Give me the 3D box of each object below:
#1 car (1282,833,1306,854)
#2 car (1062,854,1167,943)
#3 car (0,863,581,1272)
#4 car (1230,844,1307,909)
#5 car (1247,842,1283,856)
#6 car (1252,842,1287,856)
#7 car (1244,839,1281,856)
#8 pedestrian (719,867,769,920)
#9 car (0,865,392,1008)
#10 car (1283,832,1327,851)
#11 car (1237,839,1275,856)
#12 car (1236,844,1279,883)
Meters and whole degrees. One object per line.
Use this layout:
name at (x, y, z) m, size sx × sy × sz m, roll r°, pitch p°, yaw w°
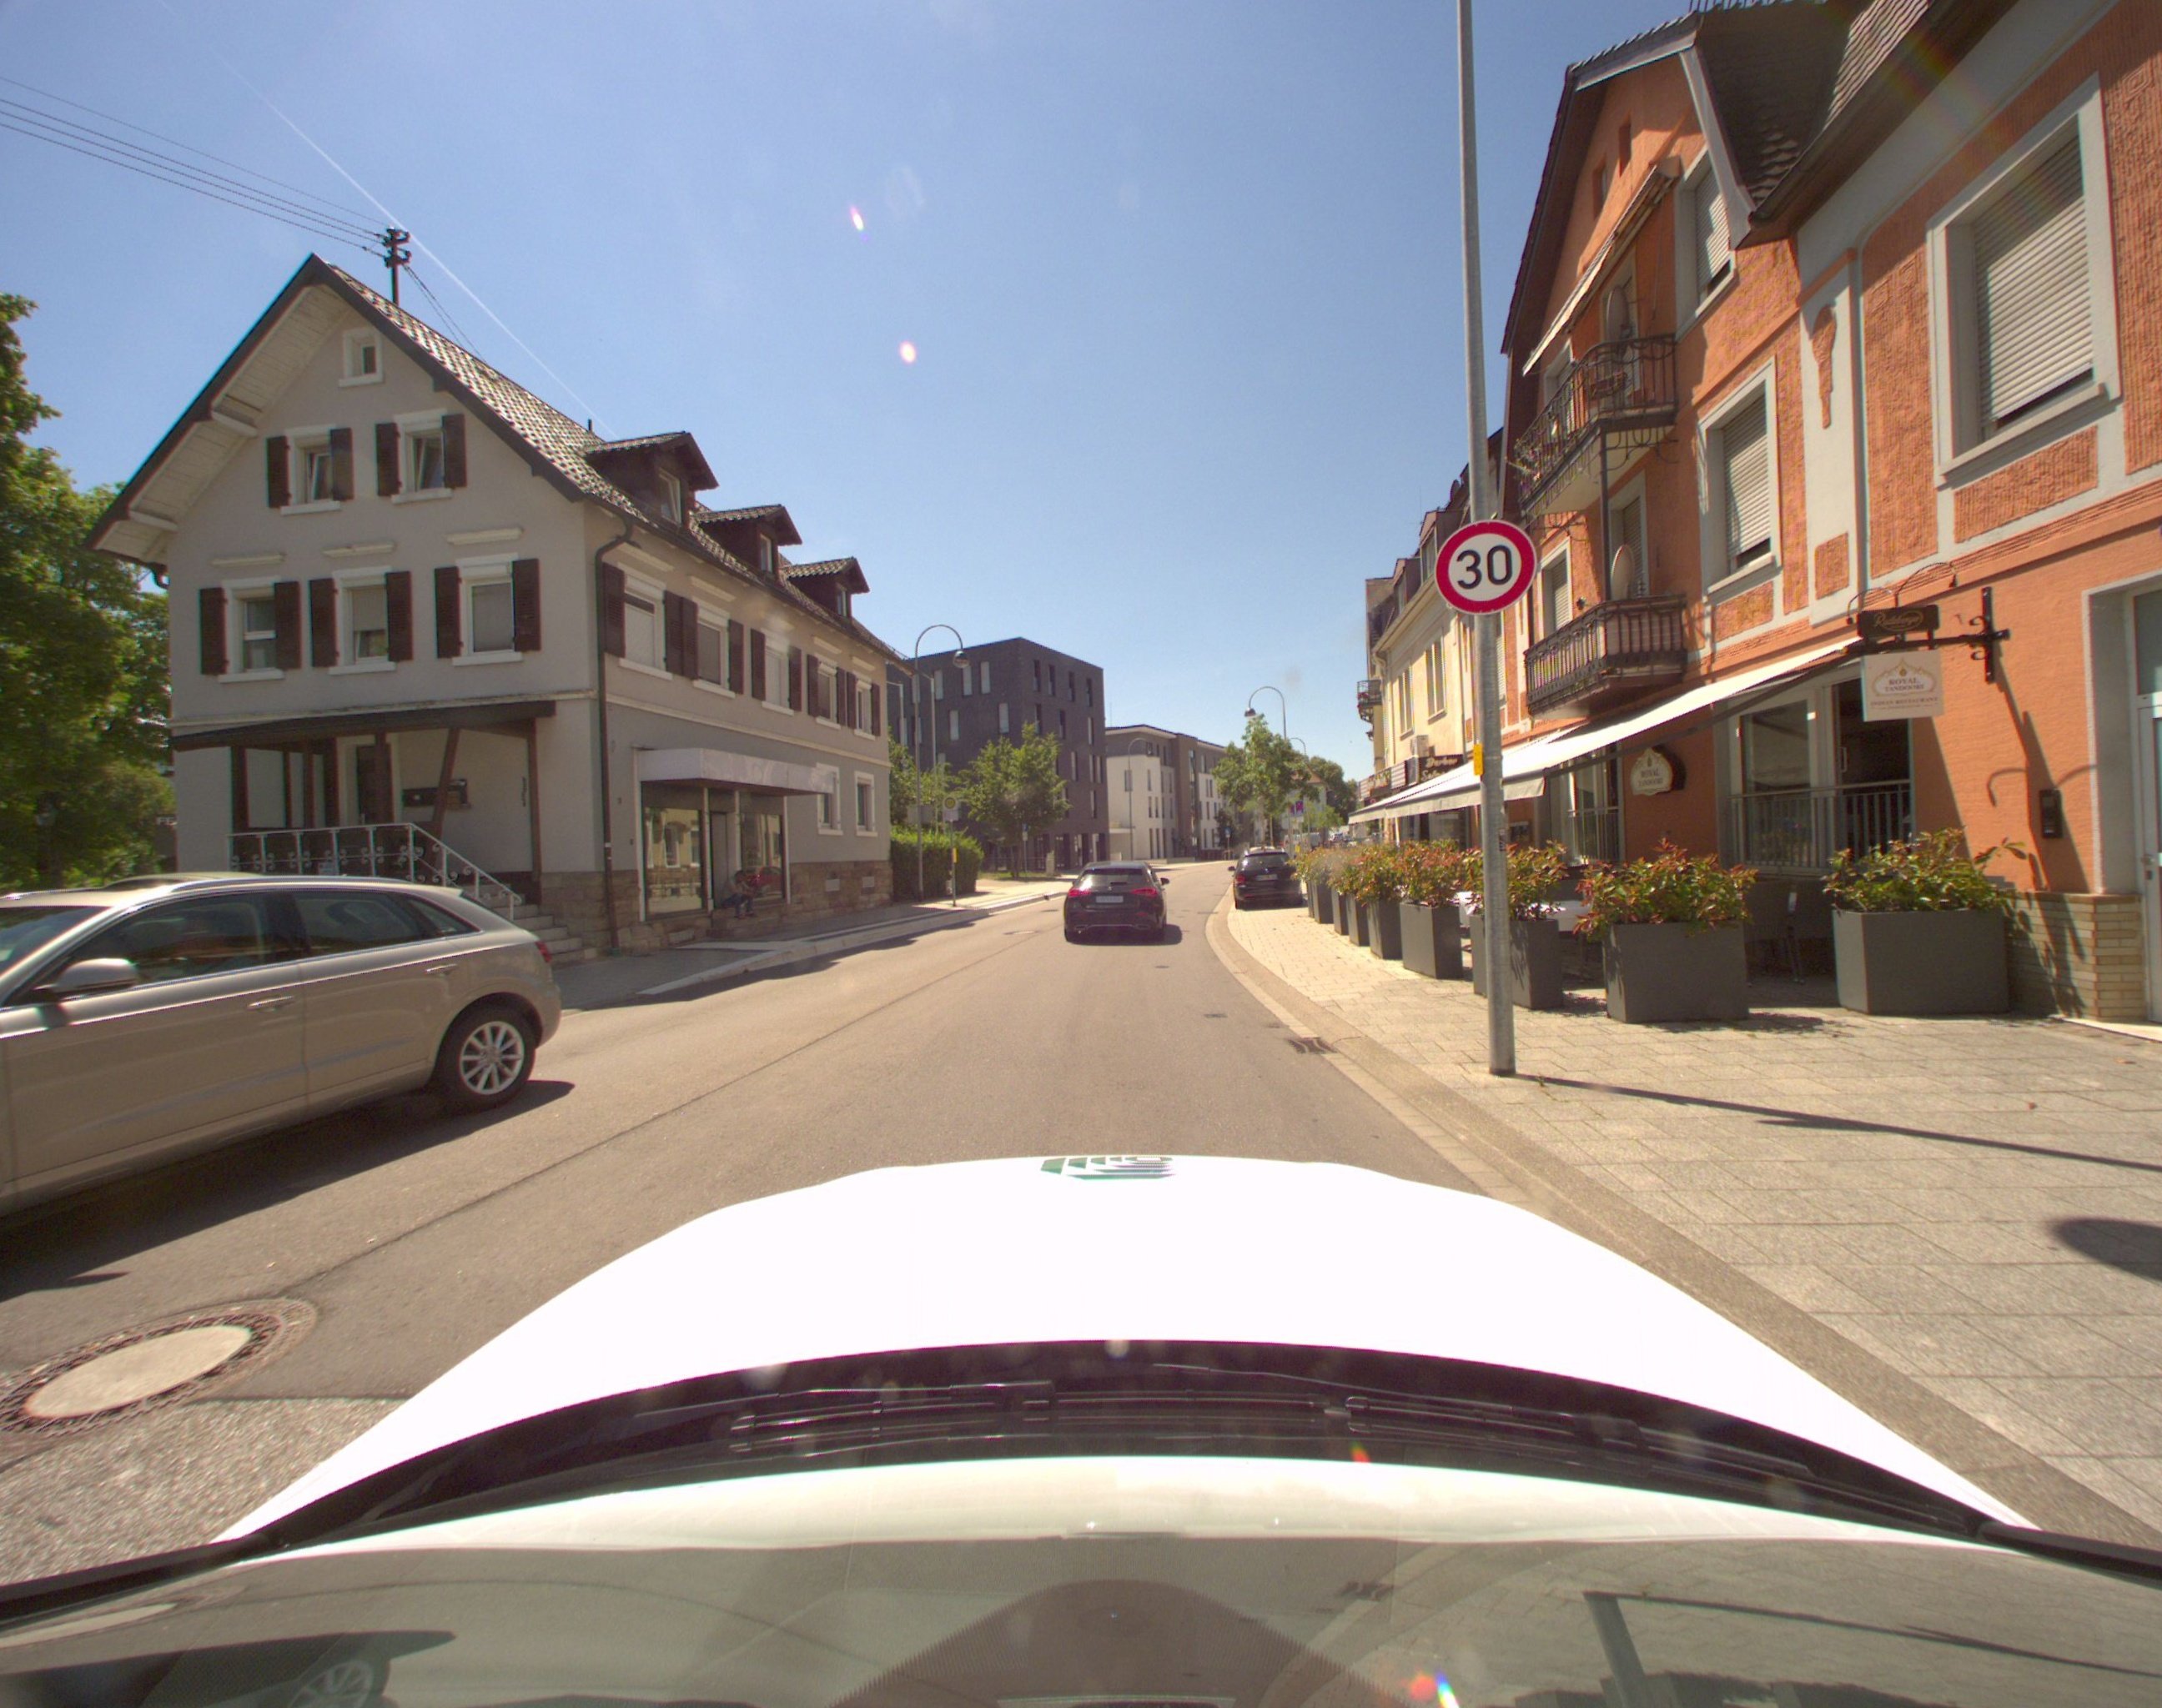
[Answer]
car at (22.018, -1.089, 83.997) m, size 1.977 × 2.013 × 4.021 m, roll -2°, pitch 0°, yaw 21°
car at (0.772, 0.757, 16.099) m, size 1.754 × 1.457 × 4.445 m, roll -1°, pitch 0°, yaw 5°
car at (-4.939, 0.908, 4.169) m, size 1.664 × 1.543 × 4.095 m, roll -4°, pitch 0°, yaw 10°
car at (4.986, 0.537, 21.912) m, size 1.738 × 1.486 × 4.013 m, roll -5°, pitch 0°, yaw 11°
car at (23.384, -0.658, 103.516) m, size 3.948 × 1.662 × 2.013 m, roll -2°, pitch 0°, yaw 30°
car at (24.560, -0.642, 106.174) m, size 3.948 × 1.662 × 2.013 m, roll -2°, pitch 0°, yaw 30°
car at (22.531, -0.787, 101.027) m, size 3.948 × 2.013 × 2.013 m, roll -2°, pitch 0°, yaw 32°
pedestrian at (-7.074, 0.813, 17.115) m, size 0.666 × 1.054 × 0.701 m, roll -2°, pitch 0°, yaw 6°
car at (-11.754, 1.045, 10.847) m, size 3.961 × 1.640 × 1.763 m, roll -2°, pitch 0°, yaw 11°
car at (32.614, -1.815, 118.734) m, size 5.587 × 2.579 × 2.531 m, roll -2°, pitch 0°, yaw 32°
car at (21.273, -0.797, 98.988) m, size 3.948 × 2.013 × 2.013 m, roll -2°, pitch 0°, yaw 32°
car at (7.643, 0.373, 35.484) m, size 1.596 × 1.530 × 3.502 m, roll -4°, pitch 0°, yaw 10°
